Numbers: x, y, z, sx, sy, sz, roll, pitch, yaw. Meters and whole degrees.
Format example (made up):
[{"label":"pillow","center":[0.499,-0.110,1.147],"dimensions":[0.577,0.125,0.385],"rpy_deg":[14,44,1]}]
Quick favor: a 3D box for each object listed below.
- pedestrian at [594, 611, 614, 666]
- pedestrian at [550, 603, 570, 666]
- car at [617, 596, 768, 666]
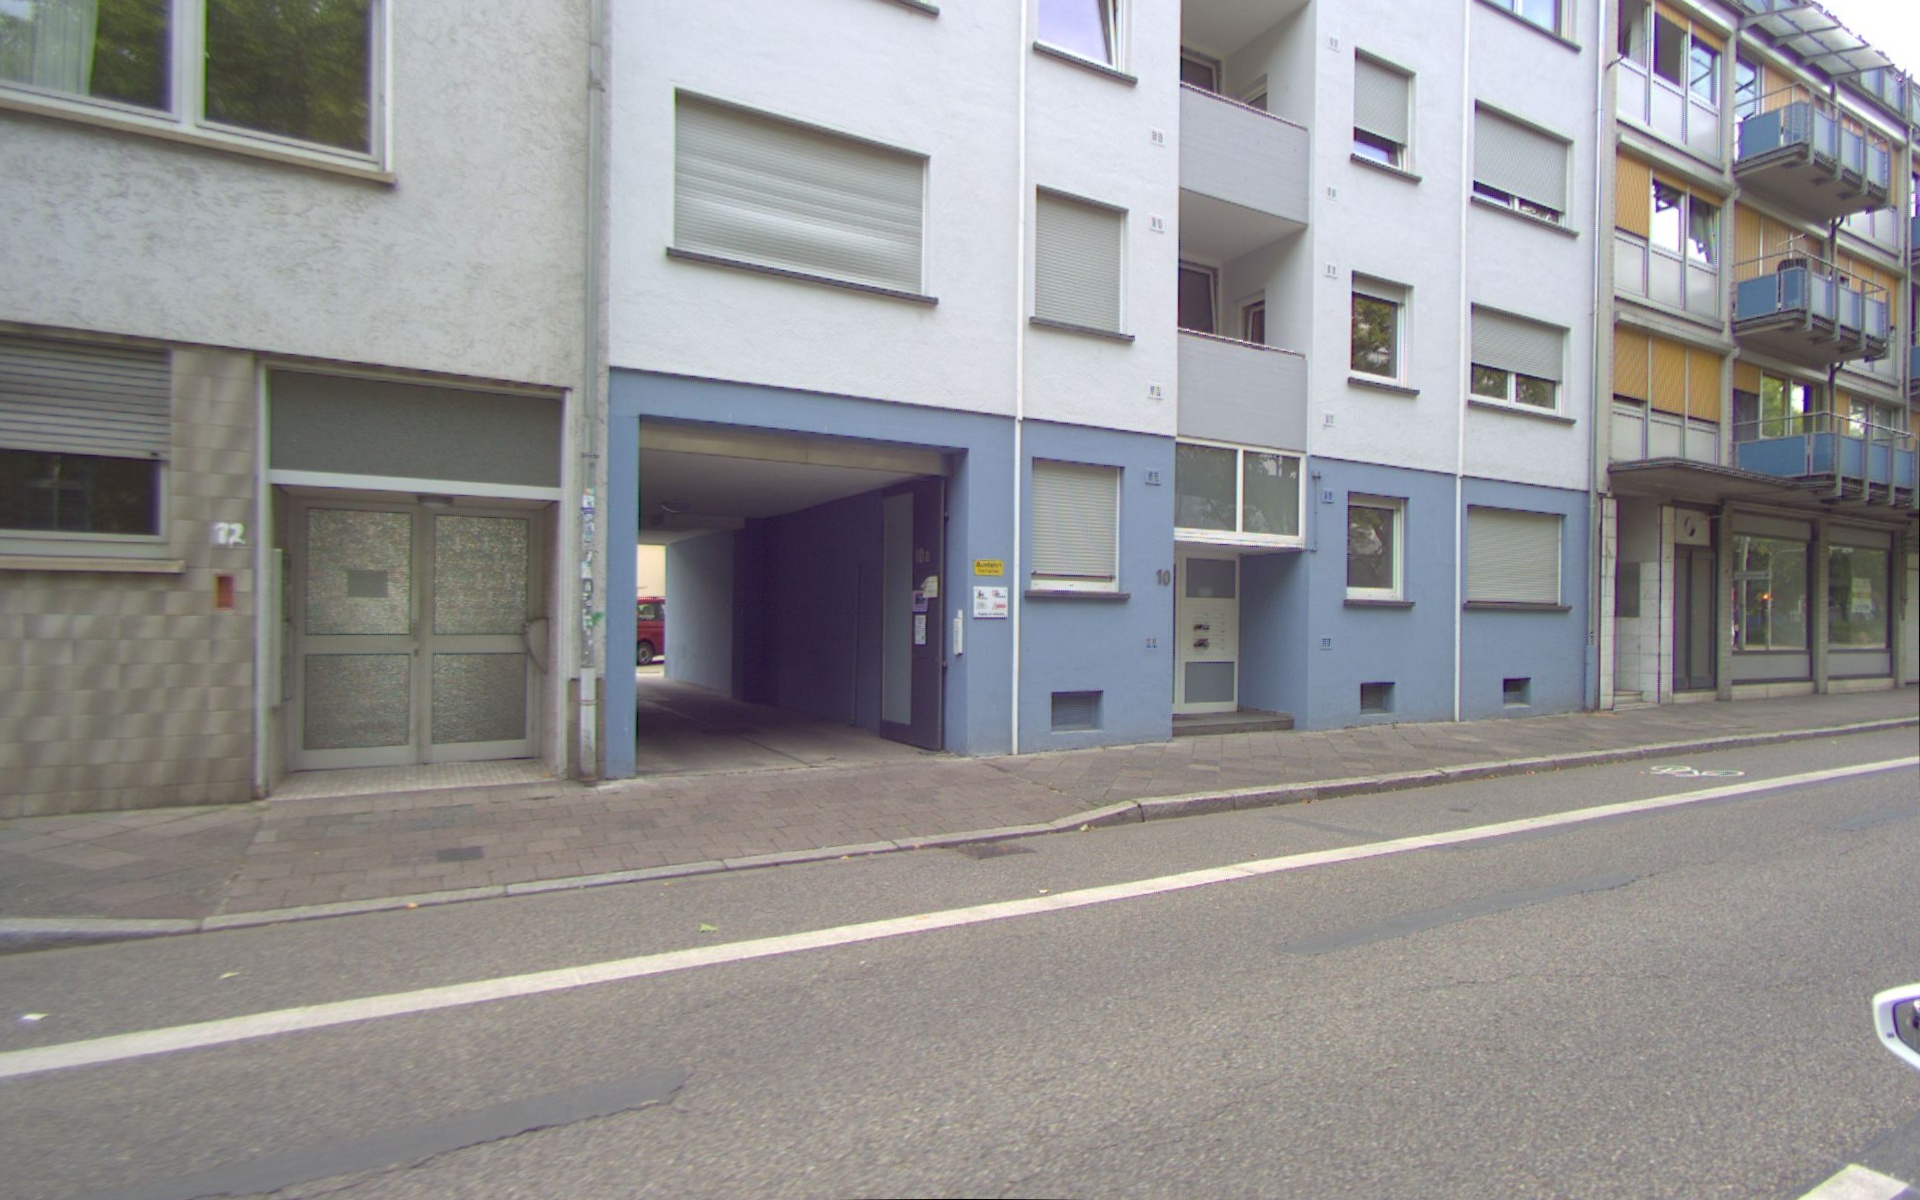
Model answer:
[{"label":"pedestrian","center":[-10.013,1.073,28.230],"dimensions":[0.411,1.532,0.371],"rpy_deg":[1,-1,-44]},{"label":"pedestrian","center":[-11.350,0.978,28.477],"dimensions":[0.474,1.788,0.372],"rpy_deg":[1,-1,-30]},{"label":"car","center":[-7.929,0.909,29.820],"dimensions":[3.953,1.960,1.984],"rpy_deg":[1,-1,-30]}]
